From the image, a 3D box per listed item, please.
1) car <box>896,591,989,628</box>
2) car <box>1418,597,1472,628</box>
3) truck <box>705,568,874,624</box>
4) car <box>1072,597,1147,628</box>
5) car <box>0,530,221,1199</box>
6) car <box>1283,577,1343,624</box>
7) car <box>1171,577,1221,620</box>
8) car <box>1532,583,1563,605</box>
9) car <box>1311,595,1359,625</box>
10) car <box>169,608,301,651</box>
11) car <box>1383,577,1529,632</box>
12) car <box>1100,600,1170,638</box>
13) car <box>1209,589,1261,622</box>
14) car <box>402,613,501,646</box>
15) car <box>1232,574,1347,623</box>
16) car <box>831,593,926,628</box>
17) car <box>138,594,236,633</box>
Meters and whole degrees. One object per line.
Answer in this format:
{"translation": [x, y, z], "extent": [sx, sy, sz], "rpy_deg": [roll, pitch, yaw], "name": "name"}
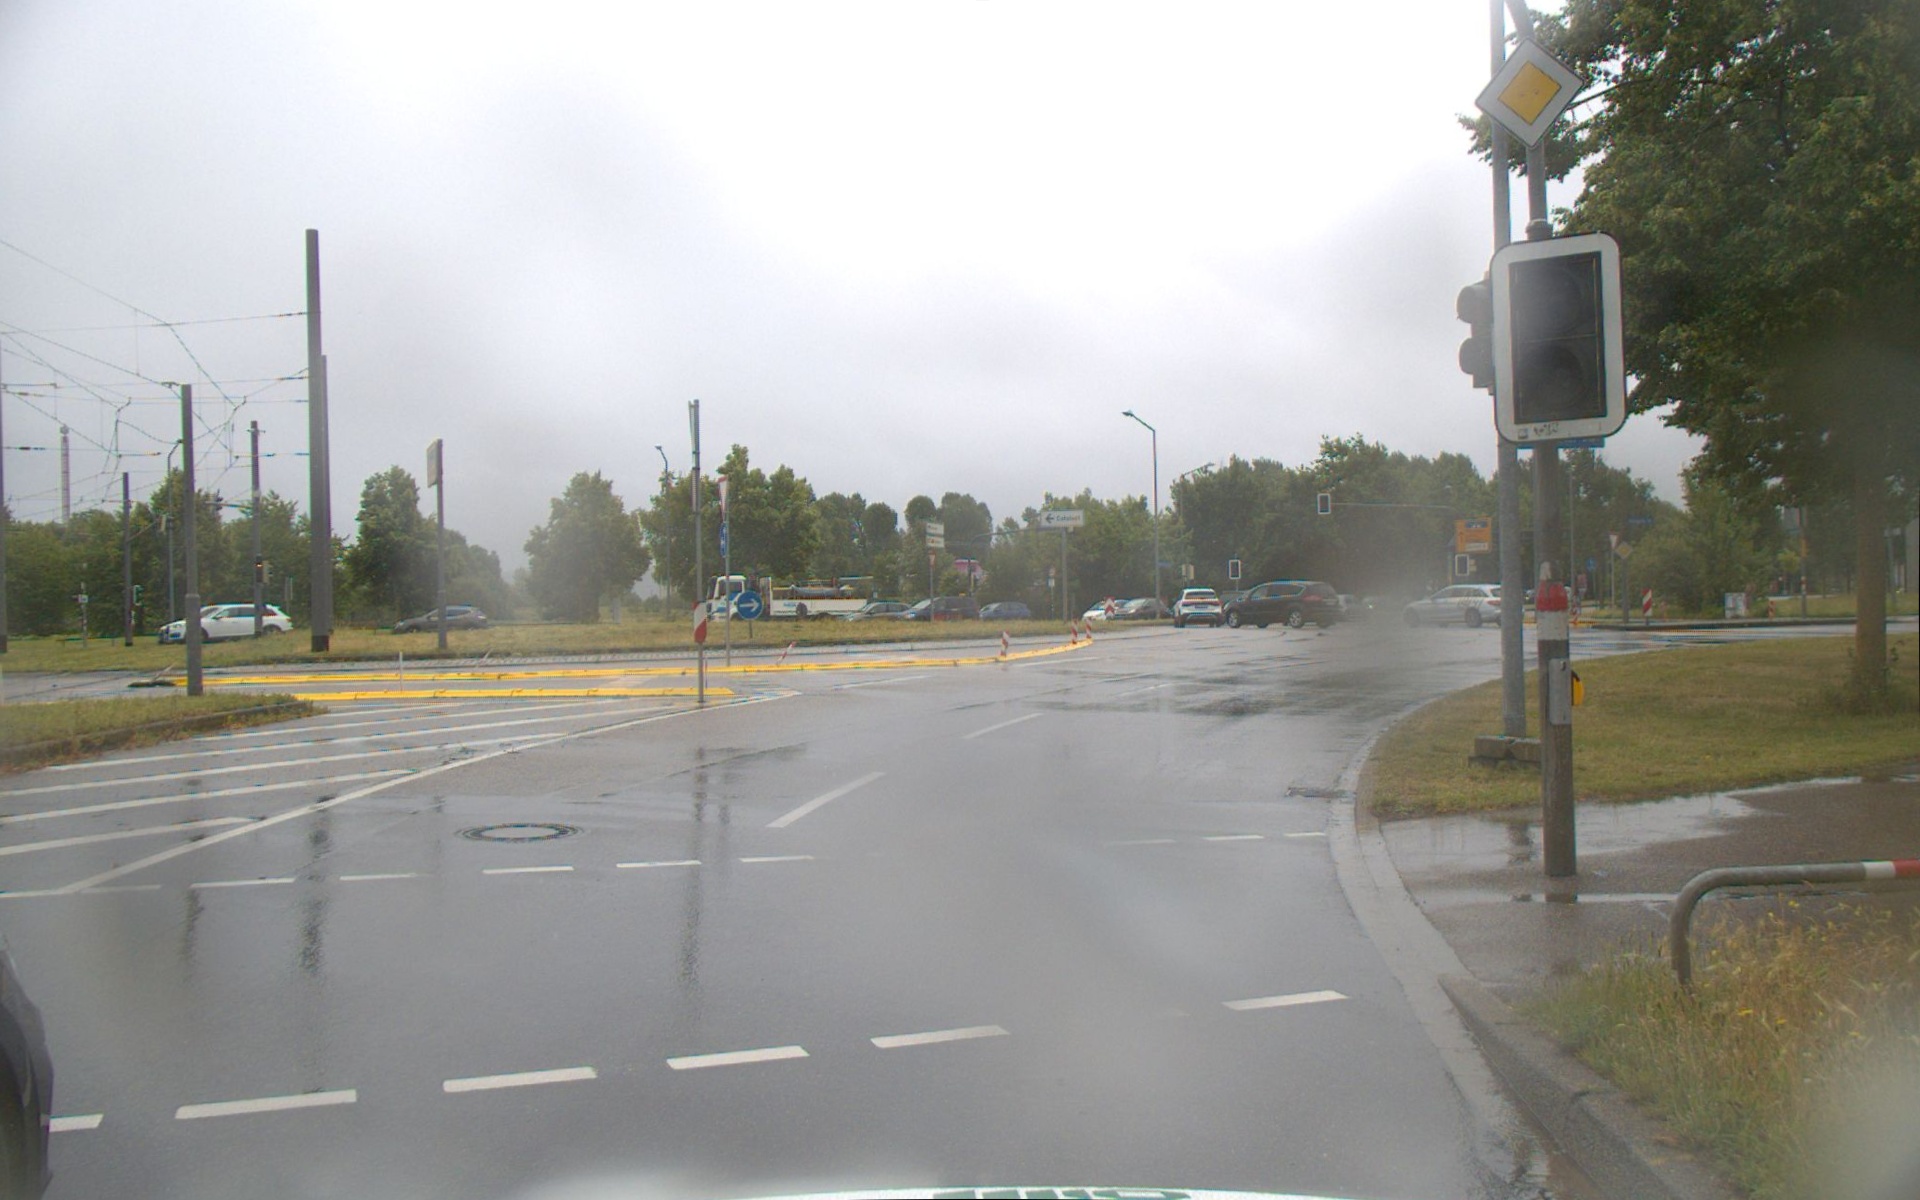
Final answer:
{"translation": [-0.812, 0.482, 81.195], "extent": [1.747, 1.774, 4.835], "rpy_deg": [1, -1, 43], "name": "car"}
{"translation": [24.933, 0.639, 84.988], "extent": [1.661, 1.518, 3.238], "rpy_deg": [-1, 0, 37], "name": "car"}
{"translation": [-8.997, -0.194, 87.382], "extent": [8.632, 2.759, 1.990], "rpy_deg": [1, -1, -18], "name": "truck"}
{"translation": [8.984, 0.735, 99.028], "extent": [4.830, 1.774, 1.749], "rpy_deg": [1, -1, -45], "name": "car"}
{"translation": [-2.611, 0.625, 1.719], "extent": [1.747, 1.544, 4.331], "rpy_deg": [1, 0, -1], "name": "car"}
{"translation": [16.446, 0.043, 76.907], "extent": [1.749, 2.072, 3.995], "rpy_deg": [1, 0, 27], "name": "car"}
{"translation": [9.750, -0.047, 68.605], "extent": [1.646, 1.676, 3.948], "rpy_deg": [1, 0, 2], "name": "car"}
{"translation": [55.572, -0.576, 156.452], "extent": [1.758, 2.049, 3.659], "rpy_deg": [1, 0, 36], "name": "car"}
{"translation": [20.427, 0.529, 89.998], "extent": [1.657, 1.518, 3.245], "rpy_deg": [-1, 0, 30], "name": "car"}
{"translation": [-30.609, 1.252, 69.911], "extent": [4.817, 1.774, 1.753], "rpy_deg": [1, -1, -39], "name": "car"}
{"translation": [17.343, 0.157, 58.030], "extent": [1.772, 1.842, 4.769], "rpy_deg": [1, 0, -39], "name": "car"}
{"translation": [9.595, 1.039, 90.414], "extent": [3.969, 2.049, 1.650], "rpy_deg": [1, -1, -44], "name": "car"}
{"translation": [13.478, 0.279, 80.999], "extent": [1.656, 1.518, 3.248], "rpy_deg": [1, 0, 26], "name": "car"}
{"translation": [-24.101, 1.399, 78.508], "extent": [4.462, 1.518, 1.604], "rpy_deg": [1, 0, -17], "name": "car"}
{"translation": [11.812, -0.054, 59.482], "extent": [1.768, 1.676, 3.952], "rpy_deg": [1, 0, -34], "name": "car"}
{"translation": [-4.186, 0.552, 85.269], "extent": [4.821, 1.774, 1.752], "rpy_deg": [1, -1, -41], "name": "car"}
{"translation": [-34.078, 0.615, 72.964], "extent": [3.802, 1.649, 1.528], "rpy_deg": [1, 0, -31], "name": "car"}
